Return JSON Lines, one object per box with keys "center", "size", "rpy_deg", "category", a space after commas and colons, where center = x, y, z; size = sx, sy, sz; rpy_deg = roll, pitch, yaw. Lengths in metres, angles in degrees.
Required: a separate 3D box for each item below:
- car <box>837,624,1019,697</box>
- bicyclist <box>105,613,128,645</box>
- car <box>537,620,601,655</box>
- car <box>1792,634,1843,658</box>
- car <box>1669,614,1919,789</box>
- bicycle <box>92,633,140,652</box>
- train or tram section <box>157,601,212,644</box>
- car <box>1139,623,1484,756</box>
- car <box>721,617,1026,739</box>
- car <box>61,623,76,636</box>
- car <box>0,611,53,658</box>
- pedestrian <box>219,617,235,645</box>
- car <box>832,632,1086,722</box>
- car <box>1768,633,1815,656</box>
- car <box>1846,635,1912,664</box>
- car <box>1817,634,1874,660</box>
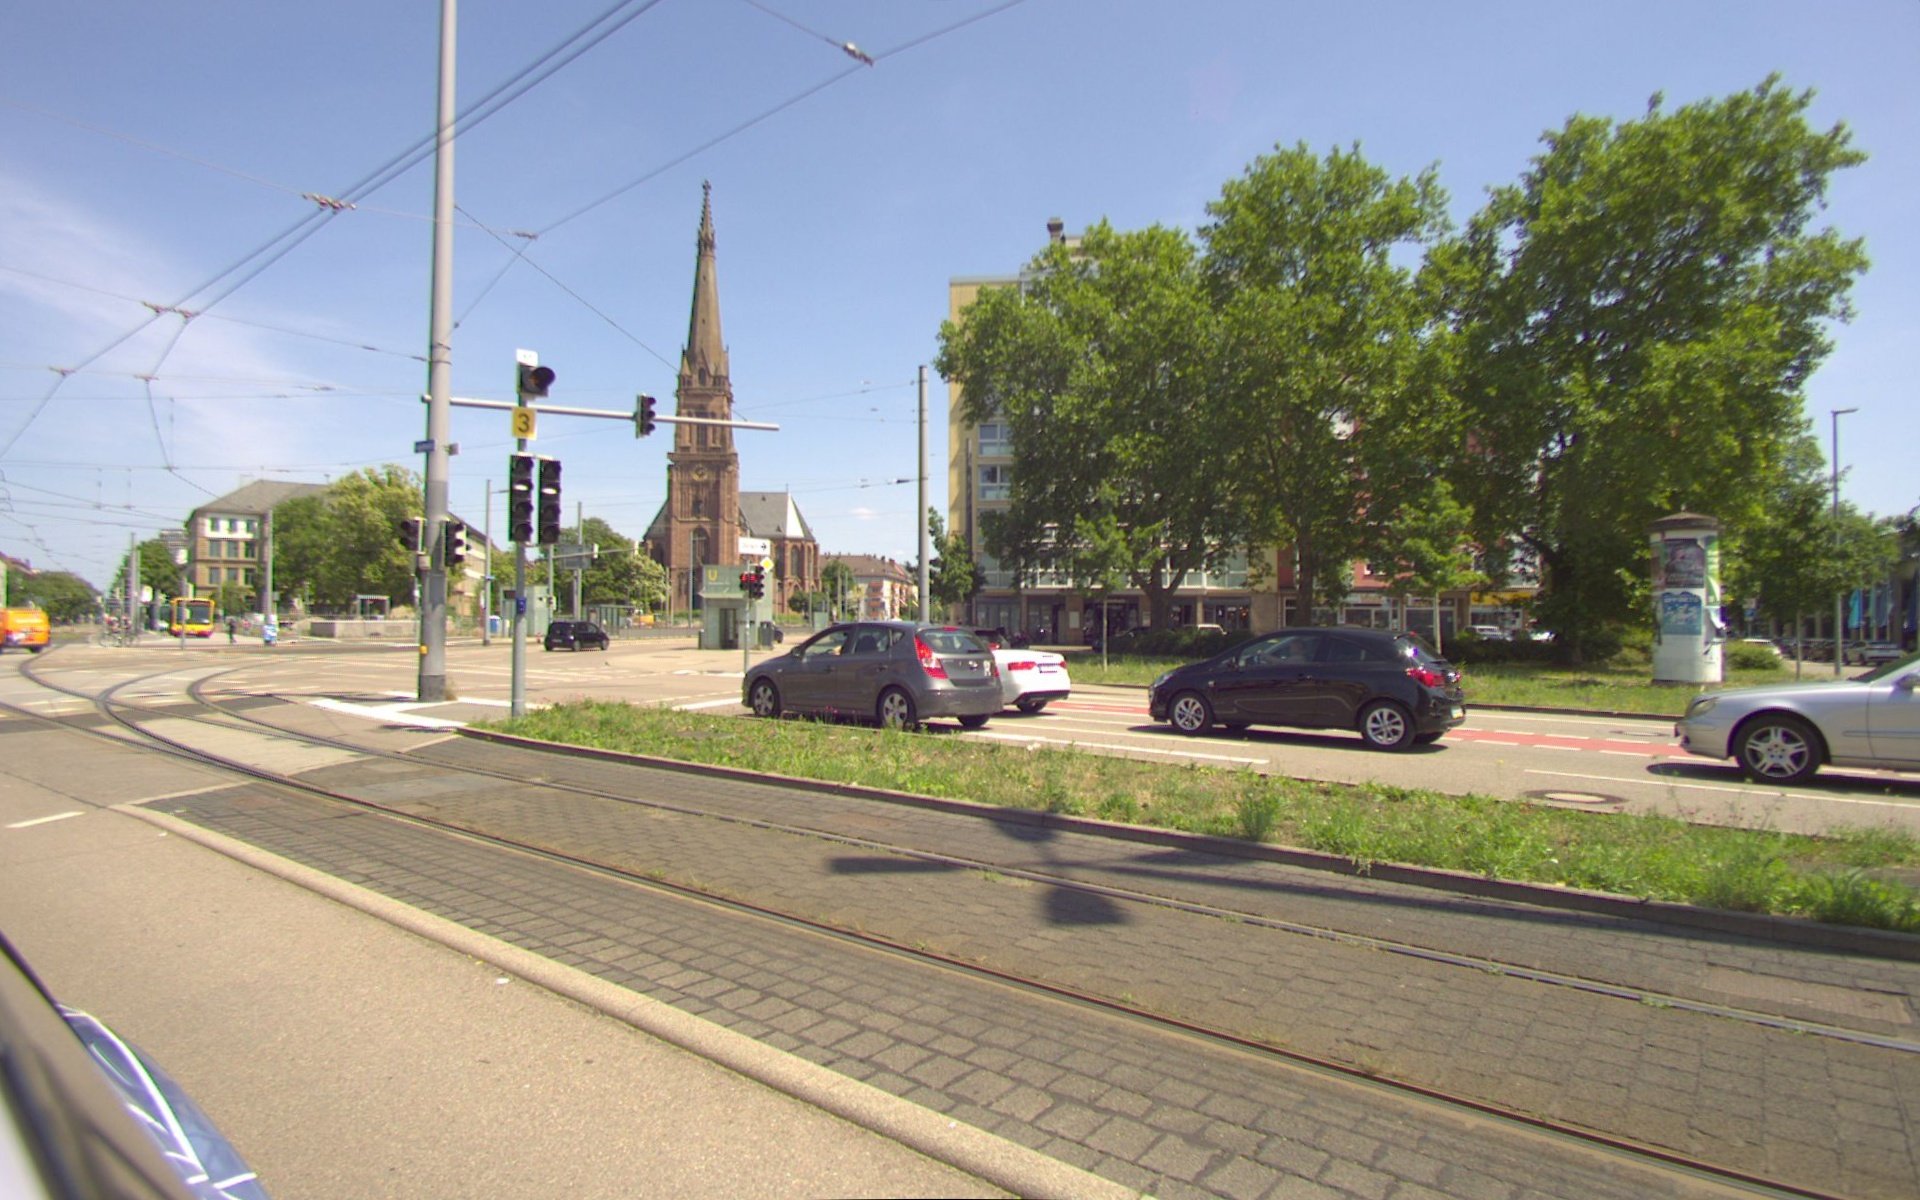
{"center": [-0.836, 1.404, 24.164], "size": [4.394, 1.610, 1.519], "rpy_deg": [-1, -4, 38], "category": "car"}
{"center": [-45.434, 1.578, 54.503], "size": [0.527, 1.701, 0.804], "rpy_deg": [-1, -2, 34], "category": "bicyclist"}
{"center": [-18.678, 1.793, 48.492], "size": [1.320, 1.586, 3.376], "rpy_deg": [-1, -1, 10], "category": "car"}
{"center": [57.902, 3.078, 68.398], "size": [1.821, 1.570, 3.962], "rpy_deg": [-1, -2, 28], "category": "car"}
{"center": [9.669, 0.938, 9.248], "size": [5.125, 1.542, 1.974], "rpy_deg": [-1, -3, 39], "category": "car"}
{"center": [-45.379, 2.265, 54.437], "size": [0.527, 0.986, 1.884], "rpy_deg": [-1, -2, 34], "category": "bicycle"}
{"center": [-62.099, 1.789, 80.976], "size": [2.800, 3.238, 9.121], "rpy_deg": [1, -2, -42], "category": "train or tram section"}
{"center": [4.433, 1.045, 13.051], "size": [3.899, 1.473, 1.654], "rpy_deg": [-1, -3, 39], "category": "car"}
{"center": [-1.333, 1.035, 14.471], "size": [4.326, 1.491, 1.824], "rpy_deg": [-2, -3, 40], "category": "car"}
{"center": [-115.595, 3.824, 131.200], "size": [1.419, 1.608, 4.005], "rpy_deg": [1, -2, -42], "category": "car"}
{"center": [-43.428, 1.521, 45.311], "size": [4.550, 2.029, 1.991], "rpy_deg": [0, -1, 14], "category": "car"}
{"center": [-43.992, 1.880, 60.750], "size": [0.446, 1.684, 0.651], "rpy_deg": [-1, -2, 23], "category": "pedestrian"}
{"center": [-0.093, 1.249, 17.273], "size": [4.198, 1.309, 1.690], "rpy_deg": [-1, -3, 38], "category": "car"}
{"center": [60.275, 3.209, 73.446], "size": [1.821, 1.570, 3.962], "rpy_deg": [-1, -2, 28], "category": "car"}
{"center": [52.569, 2.805, 57.978], "size": [1.821, 1.570, 3.962], "rpy_deg": [-1, -2, 28], "category": "car"}
{"center": [55.940, 2.964, 64.022], "size": [1.821, 1.570, 3.962], "rpy_deg": [-1, -2, 28], "category": "car"}
